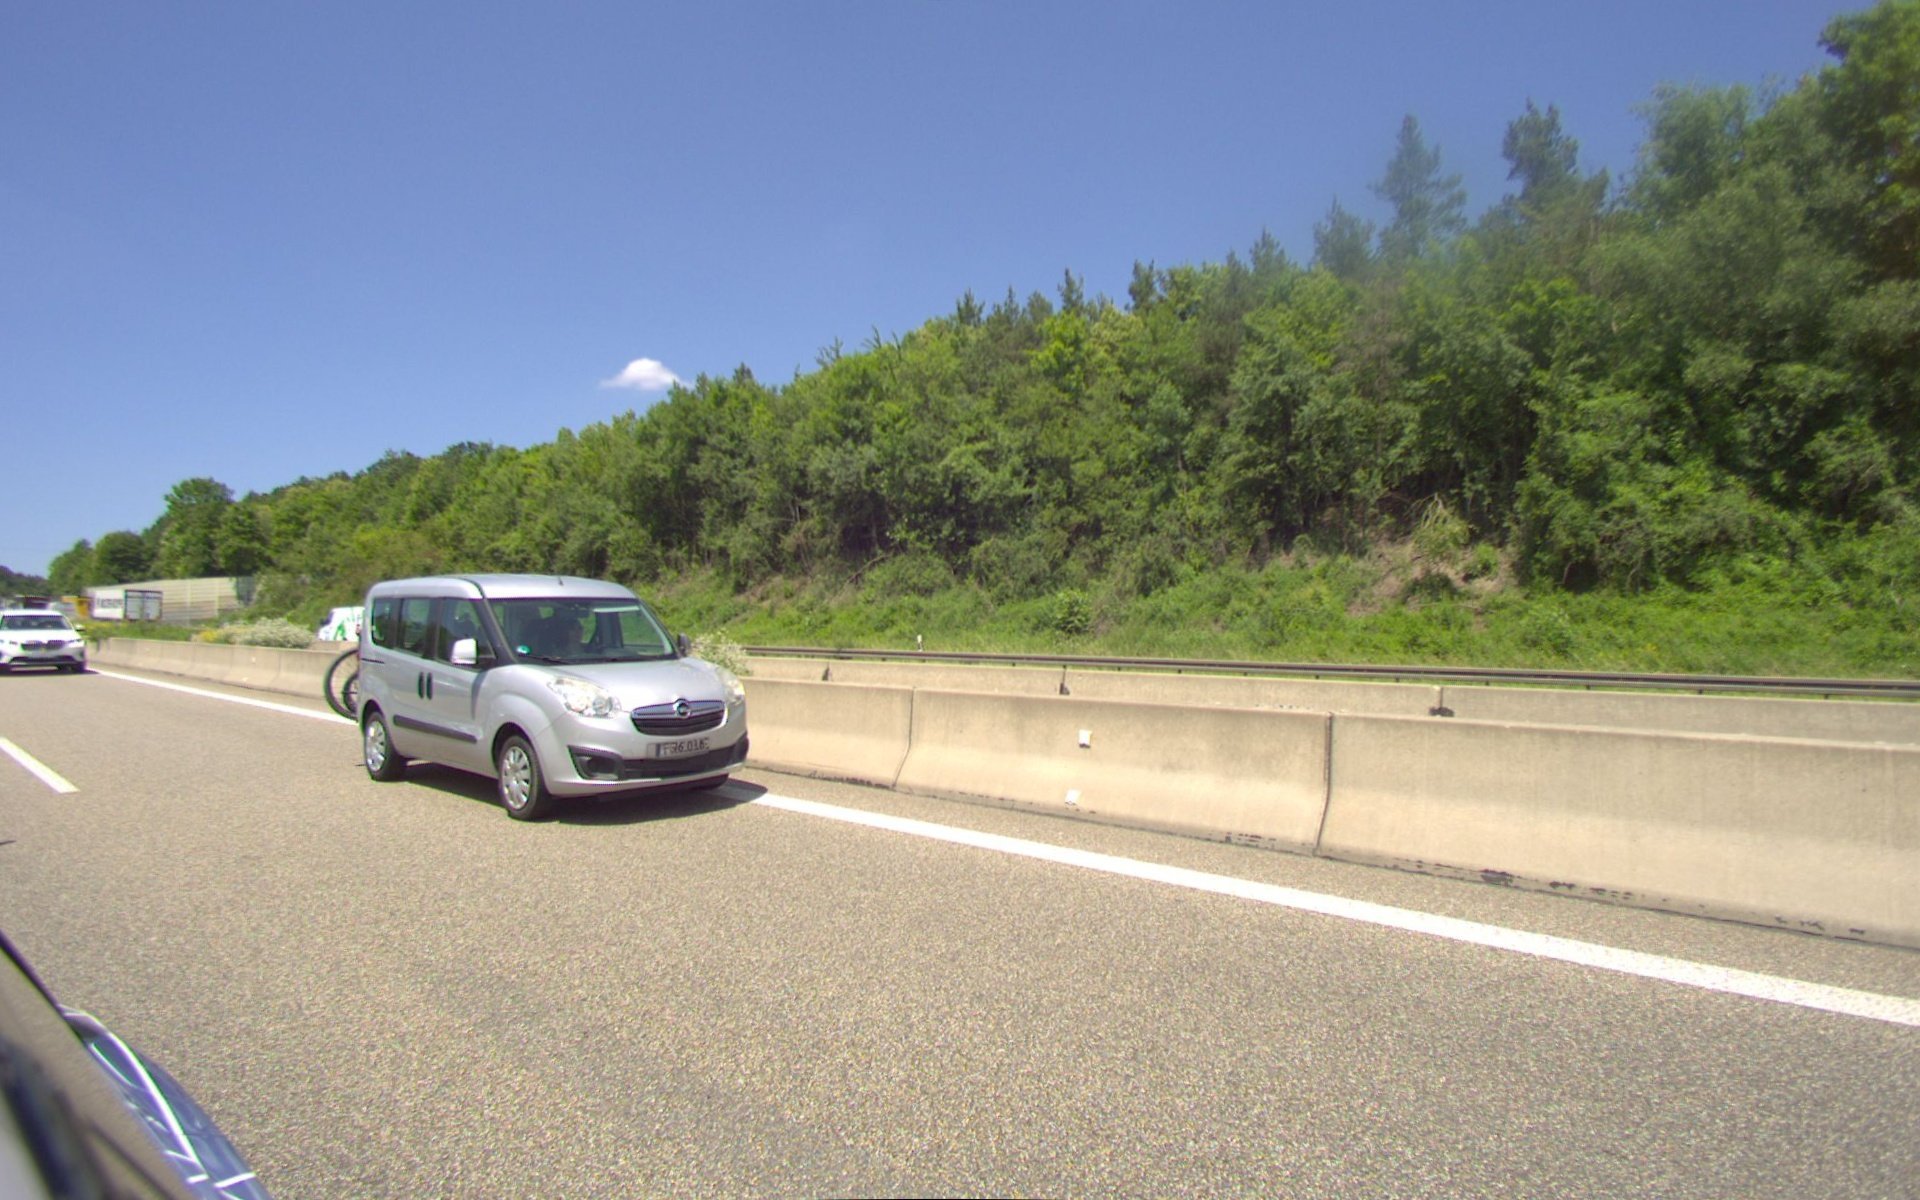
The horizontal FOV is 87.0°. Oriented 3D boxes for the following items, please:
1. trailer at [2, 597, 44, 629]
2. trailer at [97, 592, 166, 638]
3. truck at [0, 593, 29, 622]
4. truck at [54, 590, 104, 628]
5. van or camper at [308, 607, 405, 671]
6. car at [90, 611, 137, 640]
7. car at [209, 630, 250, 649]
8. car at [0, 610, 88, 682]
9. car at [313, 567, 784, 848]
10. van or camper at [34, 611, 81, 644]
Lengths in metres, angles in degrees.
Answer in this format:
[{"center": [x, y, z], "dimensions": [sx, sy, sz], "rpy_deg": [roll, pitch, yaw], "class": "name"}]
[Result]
[{"center": [-126.192, 1.719, 136.301], "dimensions": [7.894, 4.226, 3.399], "rpy_deg": [0, 0, 41], "class": "trailer"}, {"center": [-74.092, 1.296, 90.368], "dimensions": [11.395, 3.901, 2.966], "rpy_deg": [0, 0, 41], "class": "trailer"}, {"center": [-163.237, 1.384, 174.013], "dimensions": [14.093, 4.580, 3.235], "rpy_deg": [-2, -1, 42], "class": "truck"}, {"center": [-112.401, 1.069, 128.989], "dimensions": [14.094, 4.579, 3.058], "rpy_deg": [0, 0, 42], "class": "truck"}, {"center": [-24.610, 1.503, 41.207], "dimensions": [4.805, 2.403, 1.973], "rpy_deg": [0, 1, 41], "class": "van or camper"}, {"center": [-63.306, 1.880, 75.691], "dimensions": [3.996, 2.029, 1.974], "rpy_deg": [0, 0, 39], "class": "car"}, {"center": [-57.163, 3.069, 79.170], "dimensions": [4.001, 1.344, 1.971], "rpy_deg": [-1, -1, 44], "class": "car"}, {"center": [-24.555, 1.155, 26.708], "dimensions": [3.998, 1.719, 1.800], "rpy_deg": [0, 0, 41], "class": "car"}, {"center": [-3.789, 0.682, 8.773], "dimensions": [4.917, 1.786, 1.833], "rpy_deg": [0, 0, 42], "class": "car"}, {"center": [-83.373, 2.509, 93.456], "dimensions": [6.707, 2.897, 2.370], "rpy_deg": [0, 0, 40], "class": "van or camper"}]
